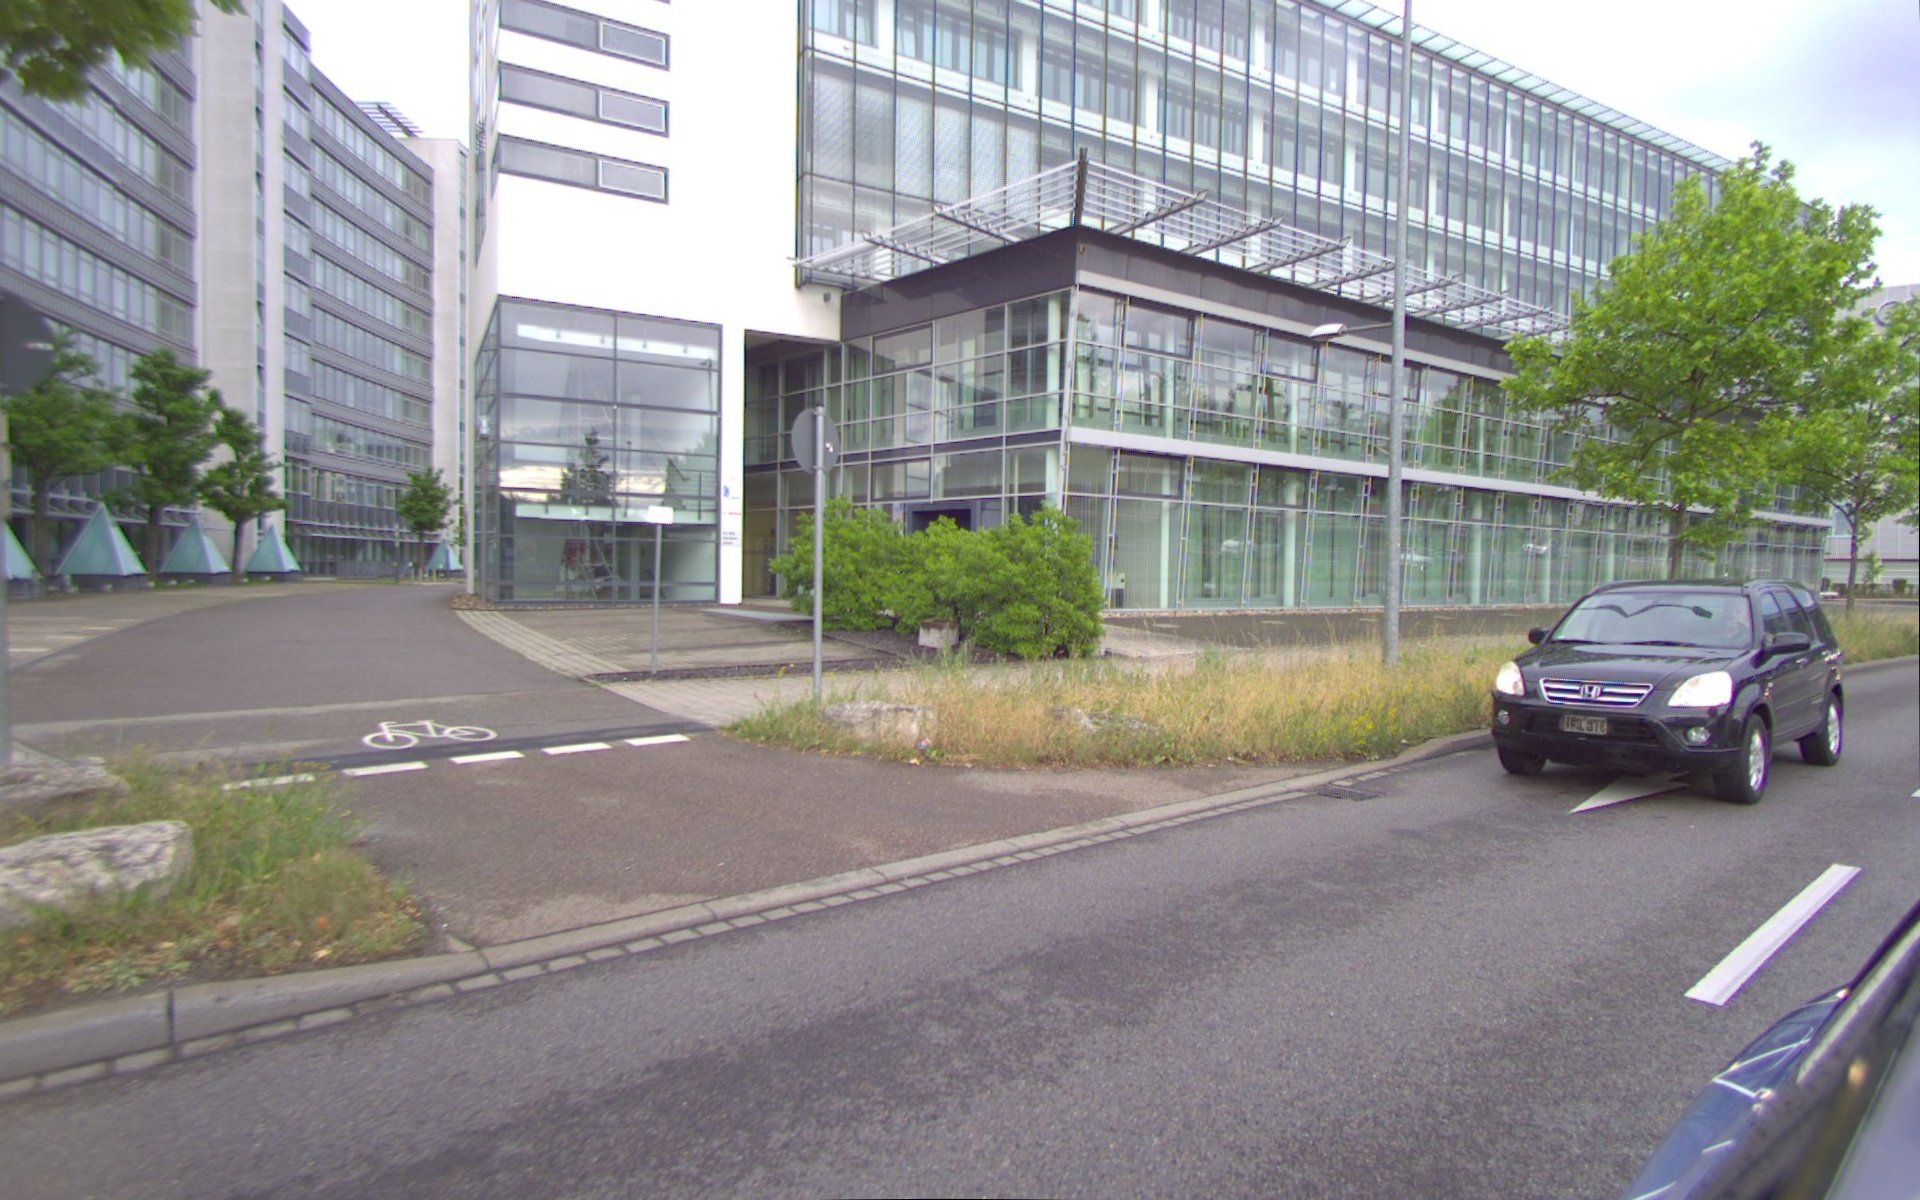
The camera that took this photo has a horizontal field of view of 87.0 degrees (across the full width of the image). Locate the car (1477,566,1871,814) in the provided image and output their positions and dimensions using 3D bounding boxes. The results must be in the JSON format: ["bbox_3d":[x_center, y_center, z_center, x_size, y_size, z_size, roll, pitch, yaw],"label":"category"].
[{"bbox_3d":[6.336,0.571,8.794,4.248,1.650,1.769,-1,0,-40],"label":"car"}]
